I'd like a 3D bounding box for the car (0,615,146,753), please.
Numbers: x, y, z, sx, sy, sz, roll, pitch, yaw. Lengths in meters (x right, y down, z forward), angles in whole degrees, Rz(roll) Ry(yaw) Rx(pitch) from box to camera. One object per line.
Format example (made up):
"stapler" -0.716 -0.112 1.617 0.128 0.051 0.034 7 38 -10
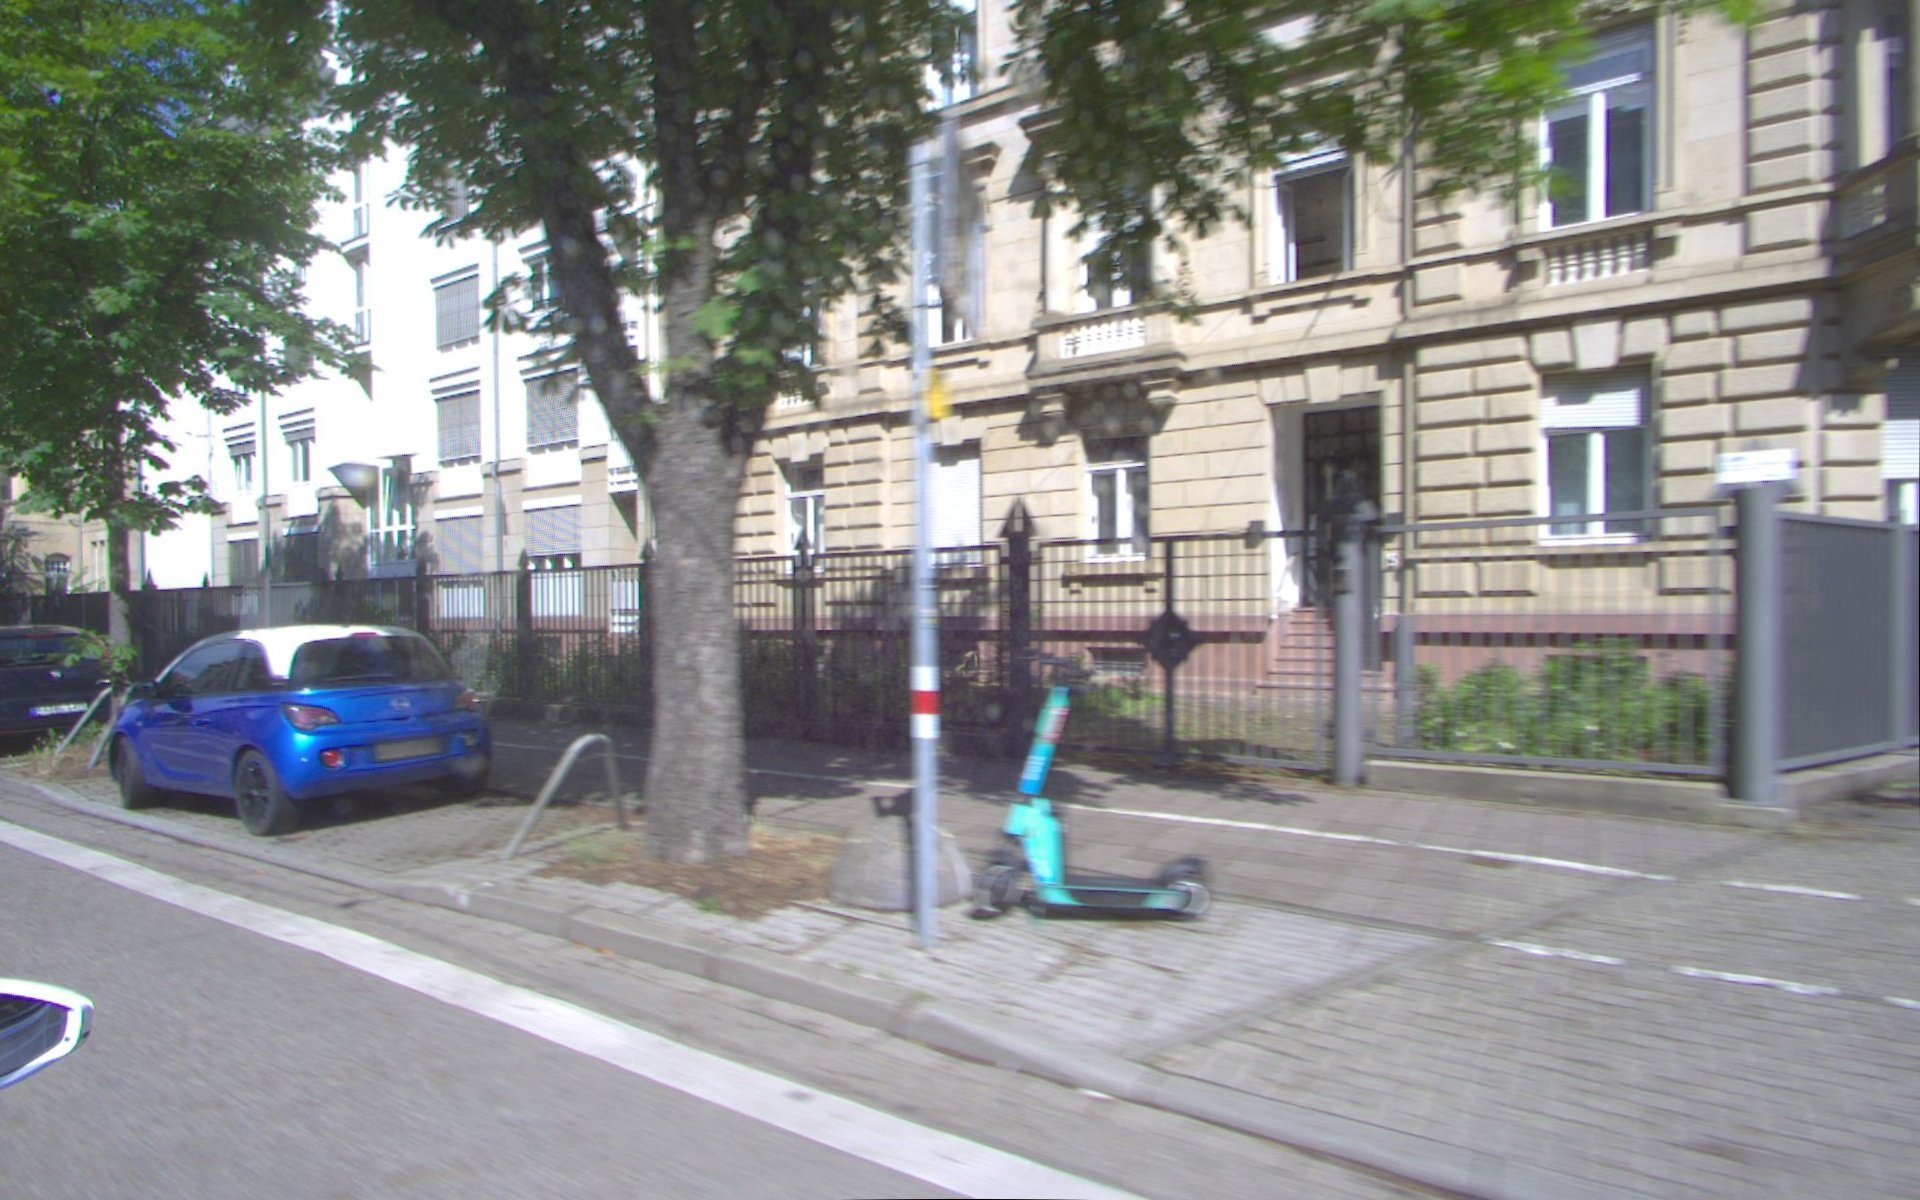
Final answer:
"car" -12.192 0.978 12.756 3.702 1.516 1.636 -1 1 31

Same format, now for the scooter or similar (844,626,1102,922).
"scooter or similar" 0.067 0.800 4.760 1.159 1.318 0.441 0 4 2

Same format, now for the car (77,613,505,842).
"car" -5.716 0.900 8.490 3.574 1.516 1.636 -1 1 31
